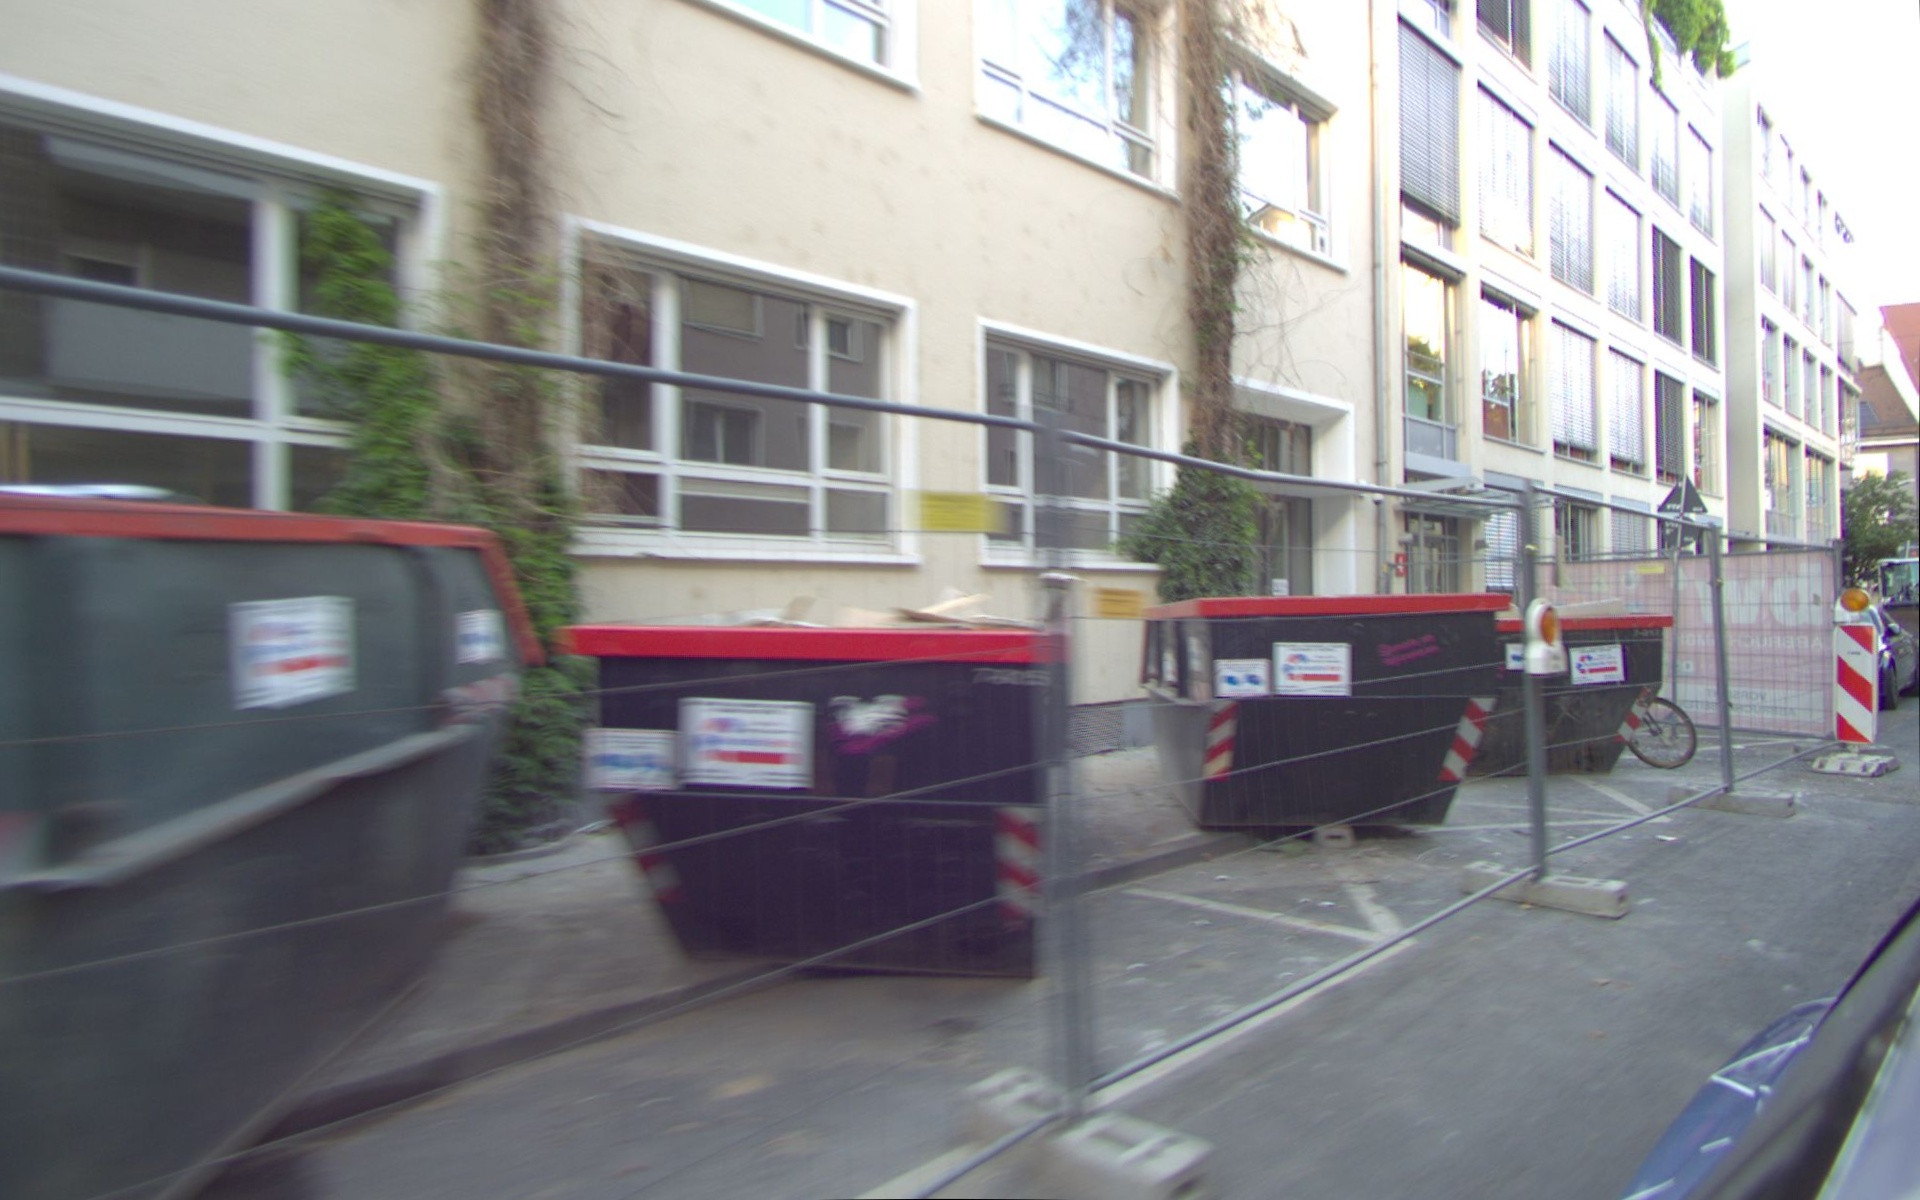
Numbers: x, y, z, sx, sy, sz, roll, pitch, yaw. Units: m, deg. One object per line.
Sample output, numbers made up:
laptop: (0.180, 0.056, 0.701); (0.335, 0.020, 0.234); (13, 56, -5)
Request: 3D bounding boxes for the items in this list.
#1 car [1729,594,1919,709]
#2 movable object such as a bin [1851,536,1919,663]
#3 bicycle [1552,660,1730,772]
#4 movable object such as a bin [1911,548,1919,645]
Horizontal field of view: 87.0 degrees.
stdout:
car: (12.846, 0.659, 14.643); (4.398, 1.424, 1.697); (0, -2, -39)
movable object such as a bin: (22.005, -0.029, 22.781); (5.446, 2.629, 2.169); (0, -1, -41)
bicycle: (6.305, 1.042, 9.463); (0.389, 0.909, 1.494); (0, -2, -13)
movable object such as a bin: (28.382, -0.121, 28.476); (4.037, 2.668, 1.800); (0, -1, -39)
